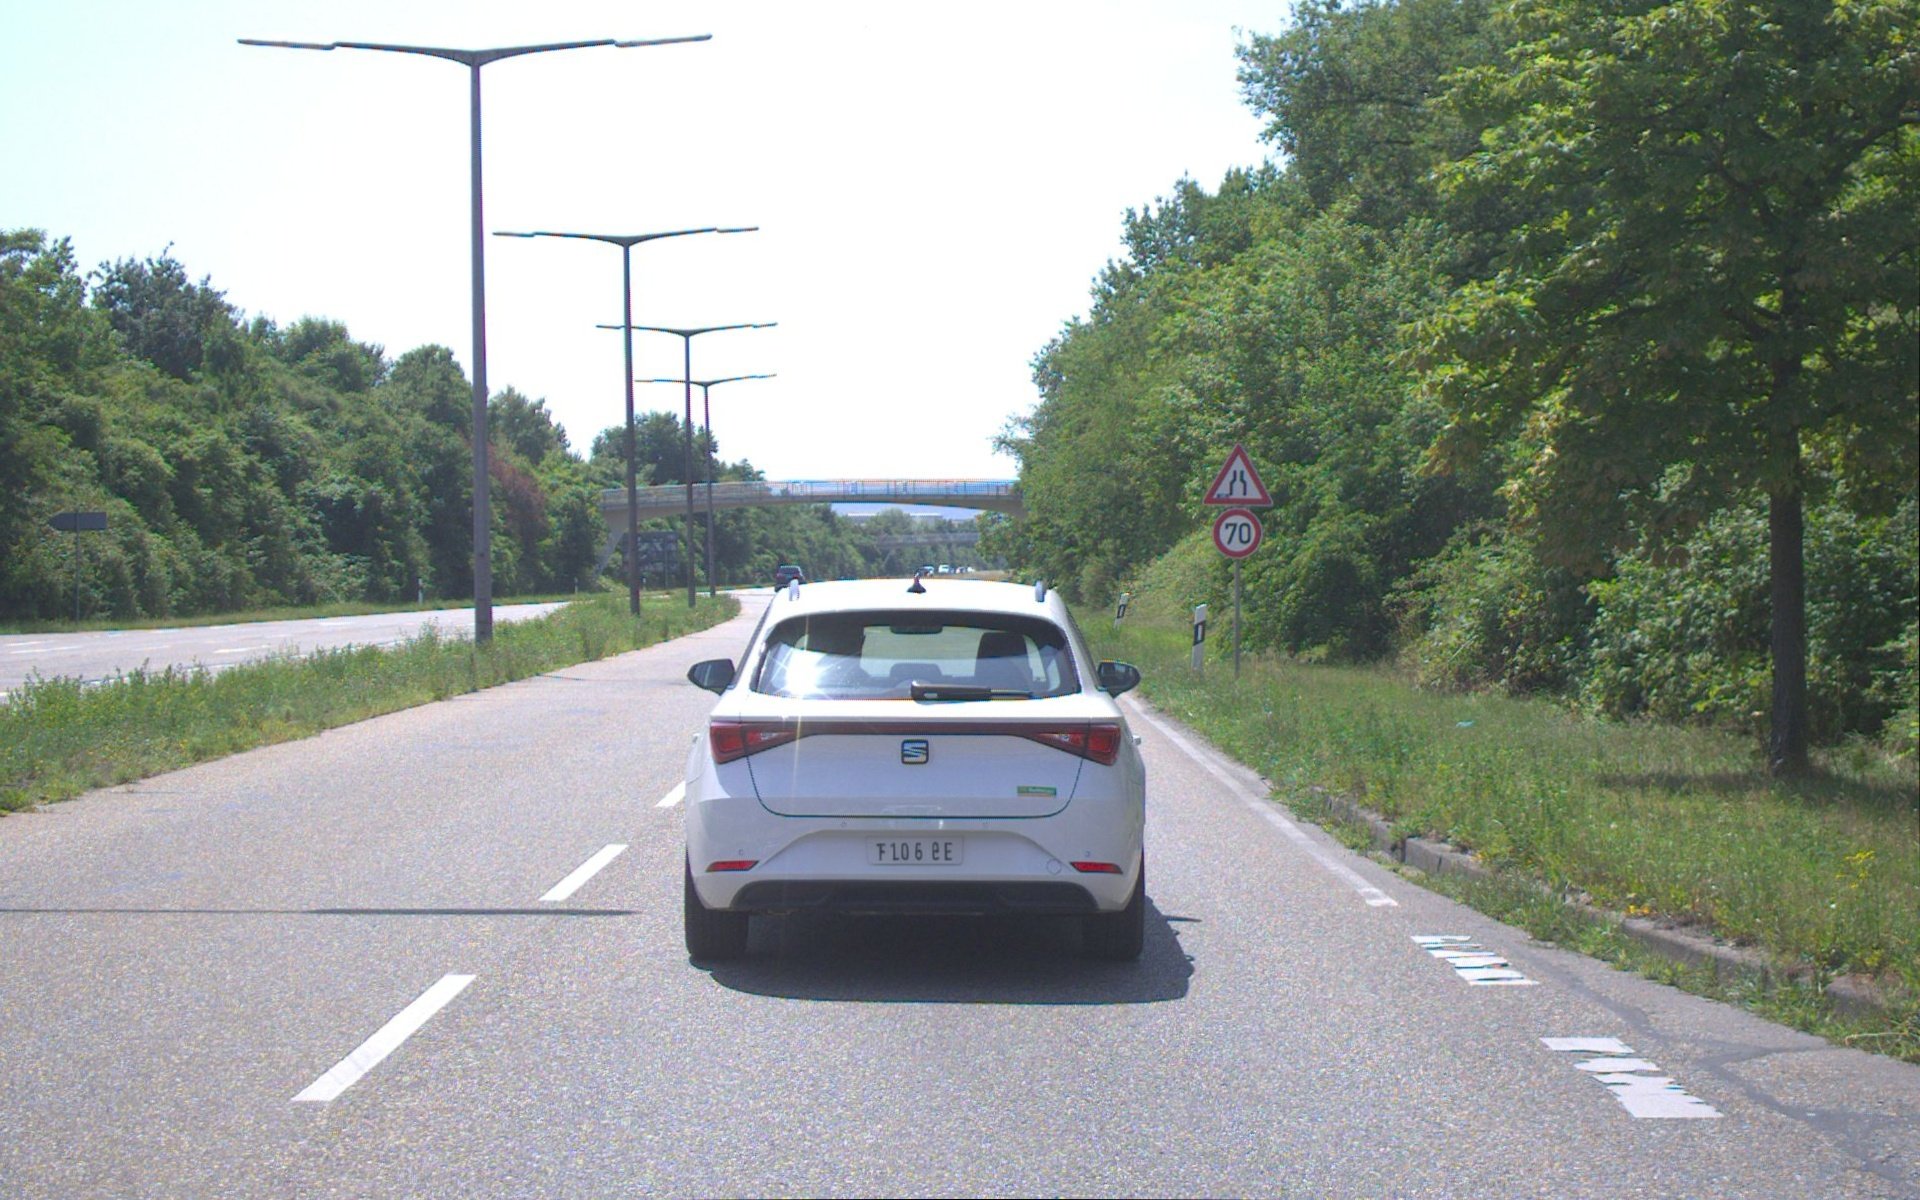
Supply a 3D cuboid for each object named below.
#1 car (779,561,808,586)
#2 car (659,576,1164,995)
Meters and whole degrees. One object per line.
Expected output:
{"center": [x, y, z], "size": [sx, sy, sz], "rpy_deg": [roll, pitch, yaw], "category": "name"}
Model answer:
{"center": [-11.742, -1.872, 242.567], "size": [1.855, 1.703, 4.000], "rpy_deg": [2, 1, -1], "category": "car"}
{"center": [-0.160, 0.646, 13.850], "size": [1.734, 1.424, 3.694], "rpy_deg": [1, 0, 0], "category": "car"}
